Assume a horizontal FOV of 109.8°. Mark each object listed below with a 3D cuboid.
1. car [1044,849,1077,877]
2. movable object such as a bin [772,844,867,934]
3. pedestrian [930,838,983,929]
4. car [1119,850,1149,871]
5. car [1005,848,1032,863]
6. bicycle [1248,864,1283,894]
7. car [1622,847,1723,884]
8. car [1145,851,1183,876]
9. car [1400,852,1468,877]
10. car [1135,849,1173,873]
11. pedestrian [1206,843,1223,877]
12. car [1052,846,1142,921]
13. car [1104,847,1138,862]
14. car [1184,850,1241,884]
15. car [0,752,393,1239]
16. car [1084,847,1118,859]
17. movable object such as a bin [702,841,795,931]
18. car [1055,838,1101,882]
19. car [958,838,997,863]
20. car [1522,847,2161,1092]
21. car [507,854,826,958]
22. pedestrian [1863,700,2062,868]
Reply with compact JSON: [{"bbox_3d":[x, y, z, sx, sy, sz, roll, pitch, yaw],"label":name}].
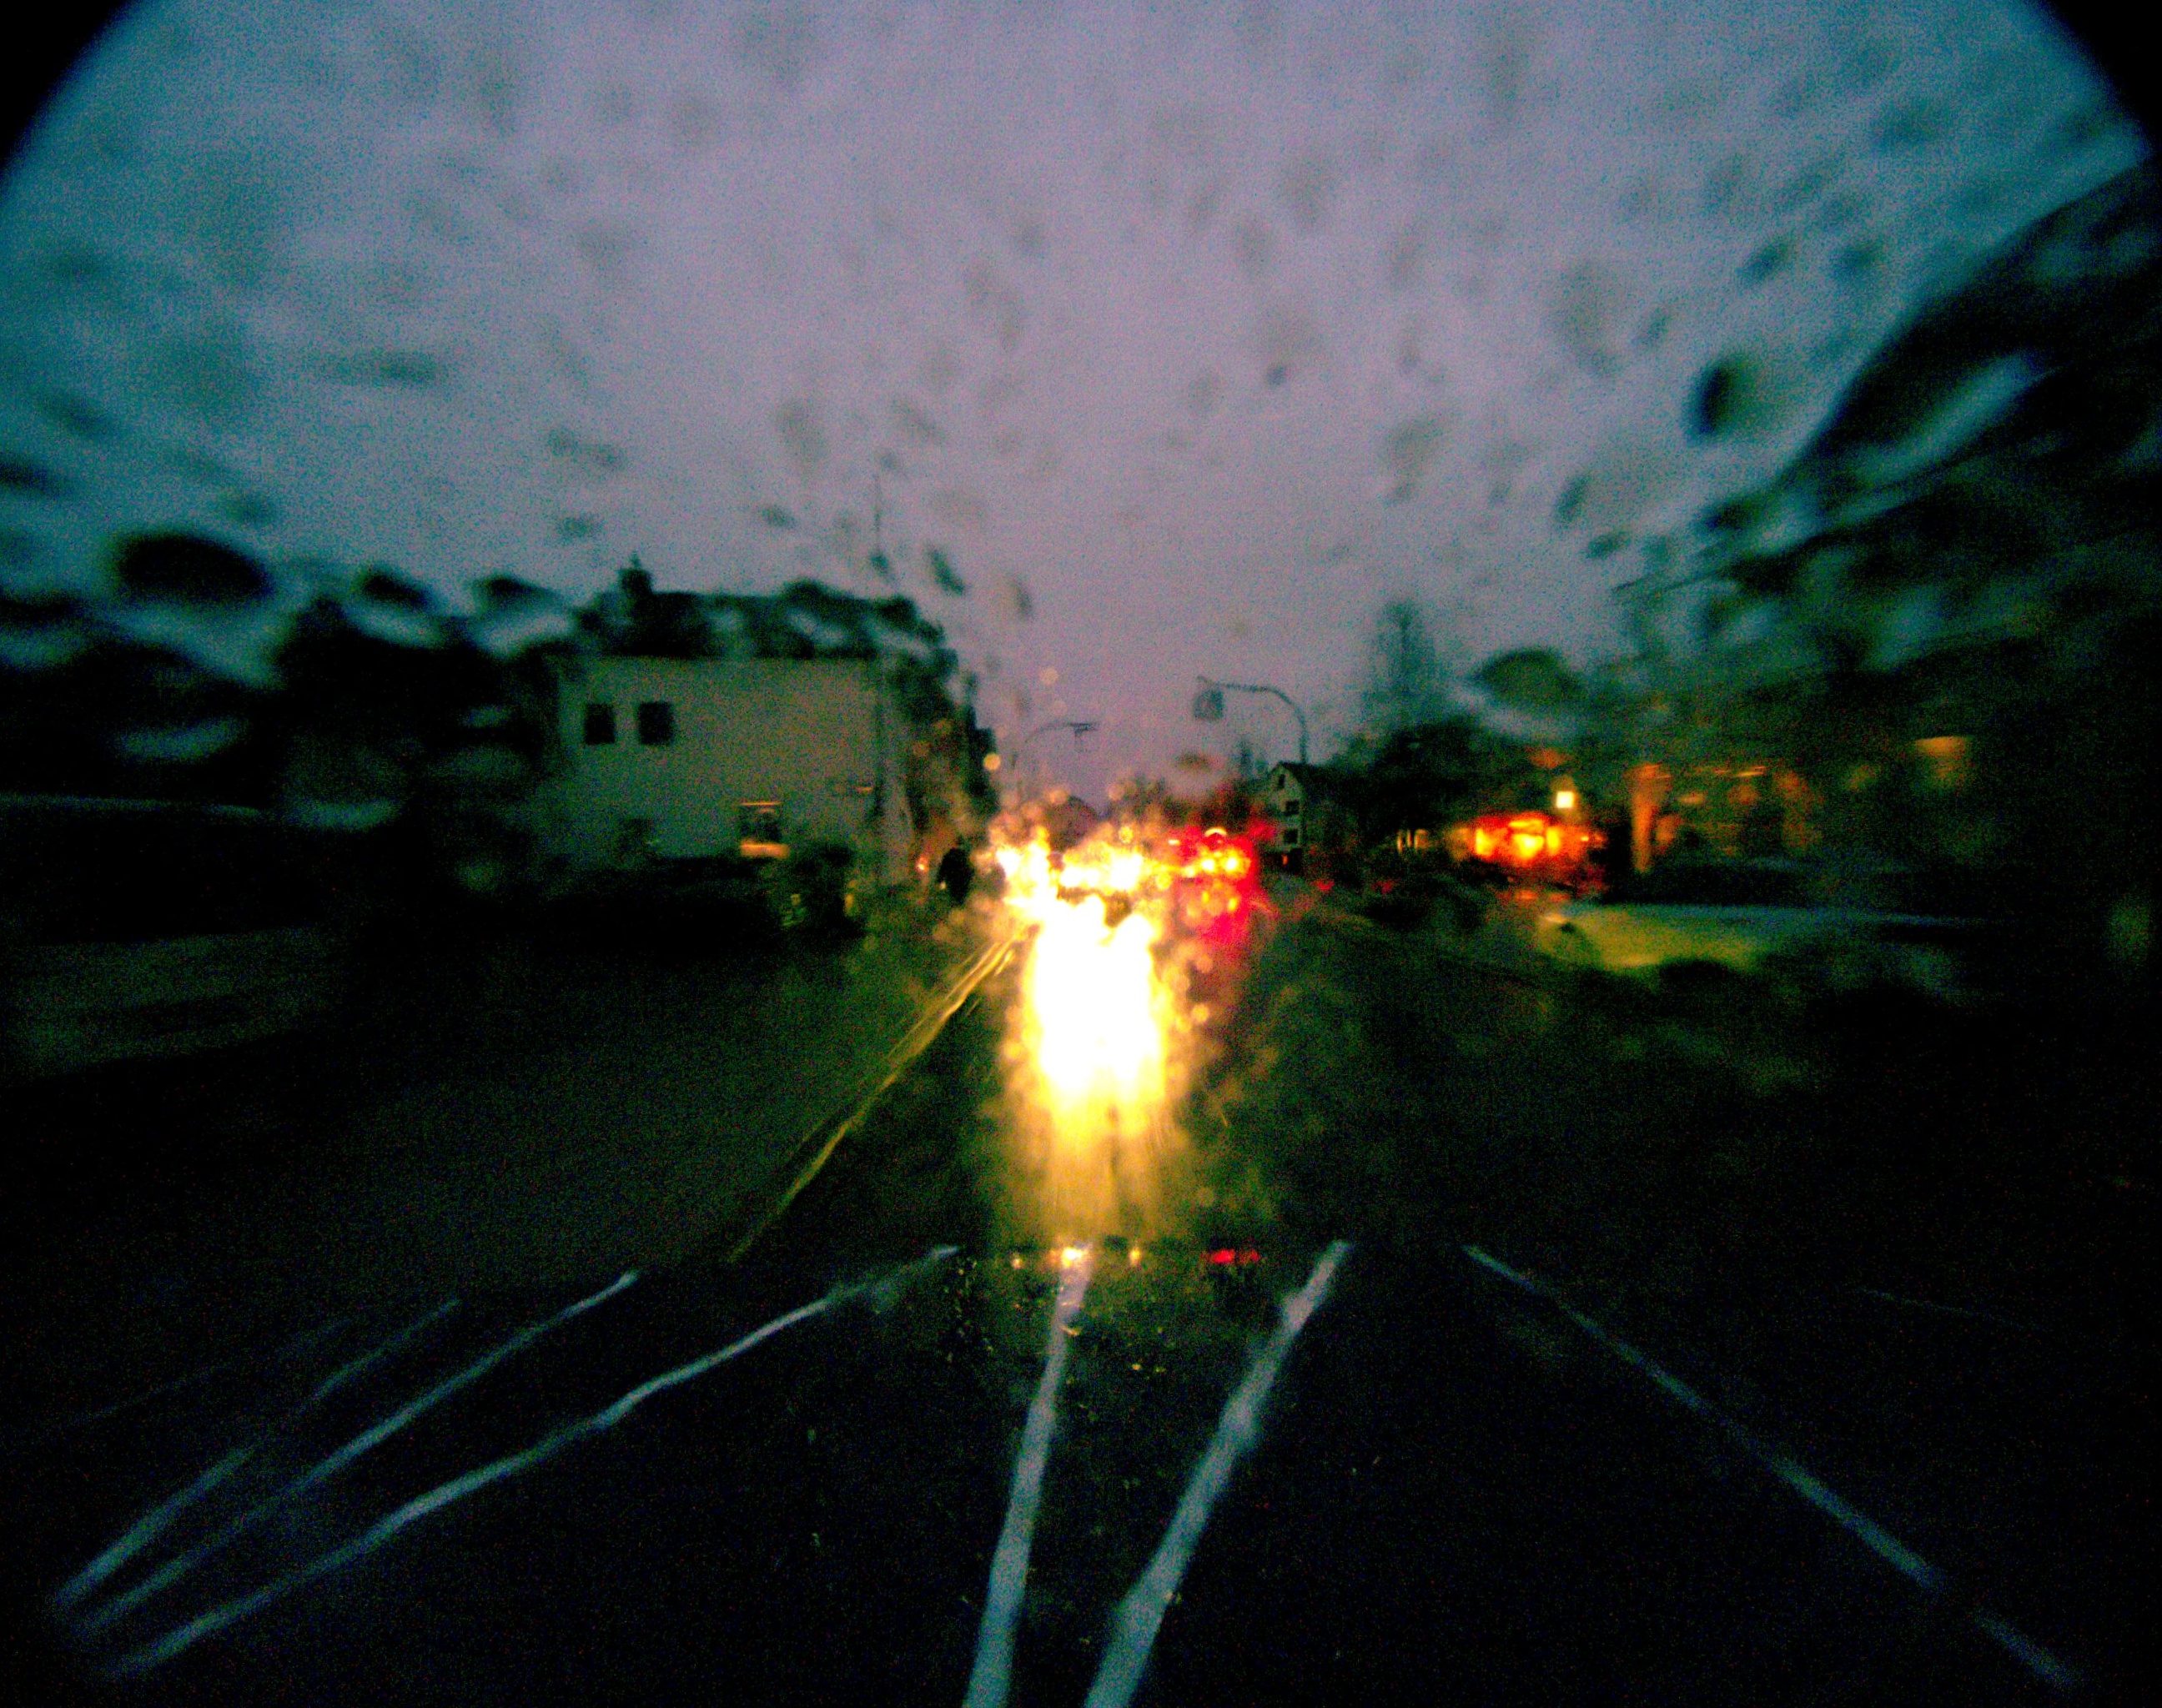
[{"bbox_3d":[-1.564,0.620,55.726,2.000,1.844,3.997,-2,1,-7],"label":"car"},{"bbox_3d":[-4.991,0.650,14.619,1.397,1.634,1.261,1,1,-4],"label":"movable object such as a bin"},{"bbox_3d":[-2.652,0.610,16.346,0.969,1.878,1.005,-2,1,-4],"label":"pedestrian"},{"bbox_3d":[4.212,0.521,61.116,1.841,1.526,4.137,-2,1,-4],"label":"car"},{"bbox_3d":[-6.444,0.151,78.009,2.001,1.506,3.994,-2,1,-15],"label":"car"},{"bbox_3d":[6.707,0.897,27.681,0.325,1.055,1.742,4,-2,-18],"label":"bicycle"},{"bbox_3d":[30.242,0.562,38.882,4.002,1.833,1.997,0,1,-13],"label":"car"},{"bbox_3d":[5.216,0.563,48.204,1.699,1.423,4.375,-2,0,-3],"label":"car"},{"bbox_3d":[22.767,0.659,49.161,2.000,1.555,3.995,0,1,-11],"label":"car"},{"bbox_3d":[5.115,0.447,53.593,1.881,1.526,3.669,-2,1,-8],"label":"car"},{"bbox_3d":[7.986,0.378,45.504,0.902,2.002,0.791,-1,1,6],"label":"pedestrian"},{"bbox_3d":[0.322,0.679,20.168,1.999,1.720,3.998,-2,1,-4],"label":"car"},{"bbox_3d":[4.554,0.087,86.119,3.840,1.537,2.000,-2,1,4],"label":"car"},{"bbox_3d":[6.377,0.581,37.225,1.789,1.480,4.180,-2,1,-3],"label":"car"},{"bbox_3d":[-6.469,0.549,4.015,4.098,2.038,2.001,1,1,7],"label":"car"},{"bbox_3d":[2.390,-0.103,91.577,3.996,1.291,2.000,-2,1,2],"label":"car"},{"bbox_3d":[-6.359,0.597,14.617,1.289,1.634,1.185,2,1,-4],"label":"movable object such as a bin"},{"bbox_3d":[-0.194,0.253,36.985,1.999,2.002,3.998,-2,1,-2],"label":"car"},{"bbox_3d":[-6.656,-0.240,49.230,1.935,1.477,4.695,-2,1,-1],"label":"car"},{"bbox_3d":[6.625,0.744,7.334,1.999,1.549,4.620,-2,1,-1],"label":"car"},{"bbox_3d":[-6.397,0.758,12.082,3.996,1.478,1.912,0,2,2],"label":"car"},{"bbox_3d":[9.369,-0.706,8.129,0.828,1.649,1.097,-2,1,-5],"label":"pedestrian"}]
